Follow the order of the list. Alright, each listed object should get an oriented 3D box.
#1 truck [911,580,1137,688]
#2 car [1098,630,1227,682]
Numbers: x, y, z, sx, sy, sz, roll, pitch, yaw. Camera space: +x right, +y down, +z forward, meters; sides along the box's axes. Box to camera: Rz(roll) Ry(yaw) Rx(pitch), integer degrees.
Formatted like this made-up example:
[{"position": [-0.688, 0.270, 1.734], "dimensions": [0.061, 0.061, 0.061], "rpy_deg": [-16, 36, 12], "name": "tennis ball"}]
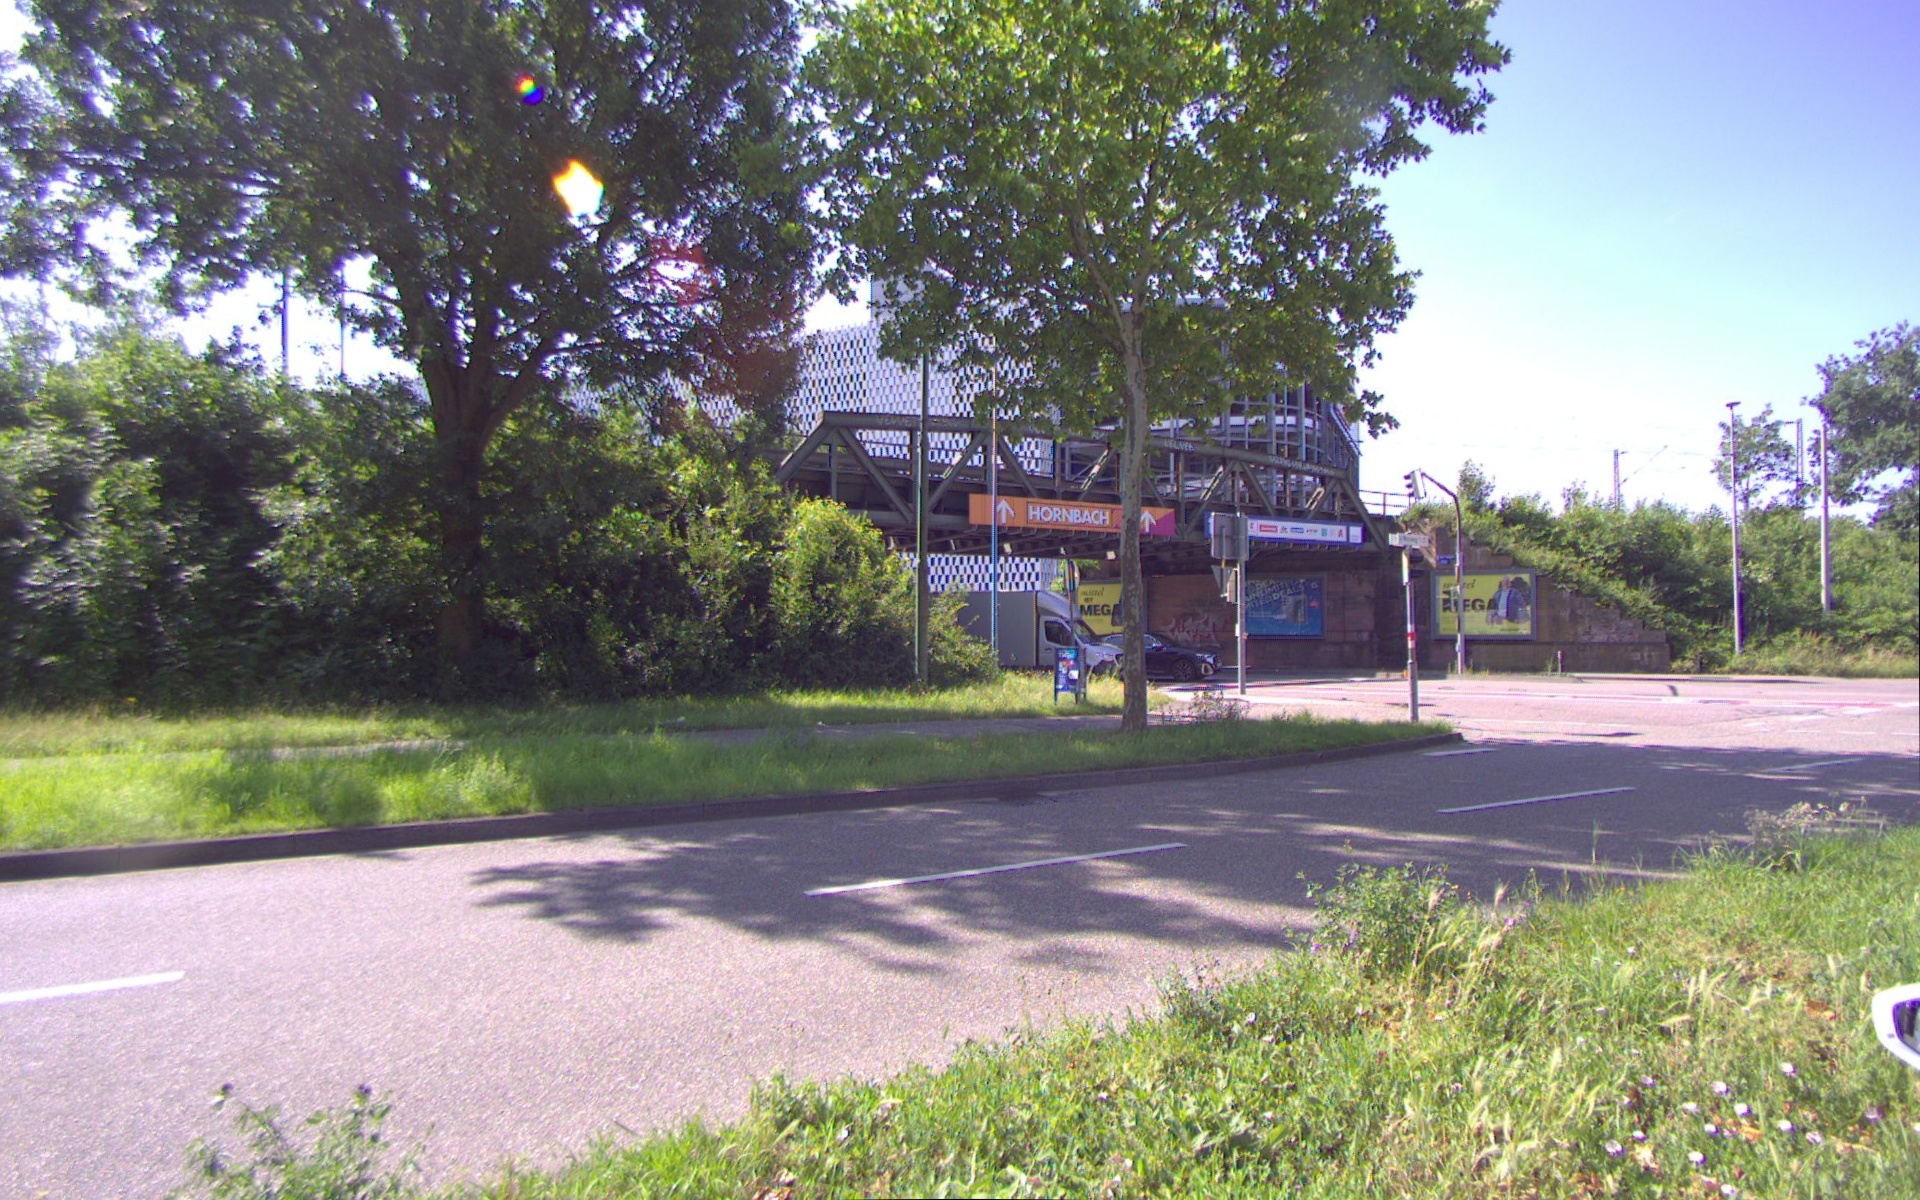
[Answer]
[{"position": [1.960, 1.120, 31.679], "dimensions": [6.739, 3.146, 2.216], "rpy_deg": [-2, -2, 27], "name": "truck"}, {"position": [6.890, 1.897, 34.174], "dimensions": [3.926, 1.668, 1.902], "rpy_deg": [-2, -2, 27], "name": "car"}]
